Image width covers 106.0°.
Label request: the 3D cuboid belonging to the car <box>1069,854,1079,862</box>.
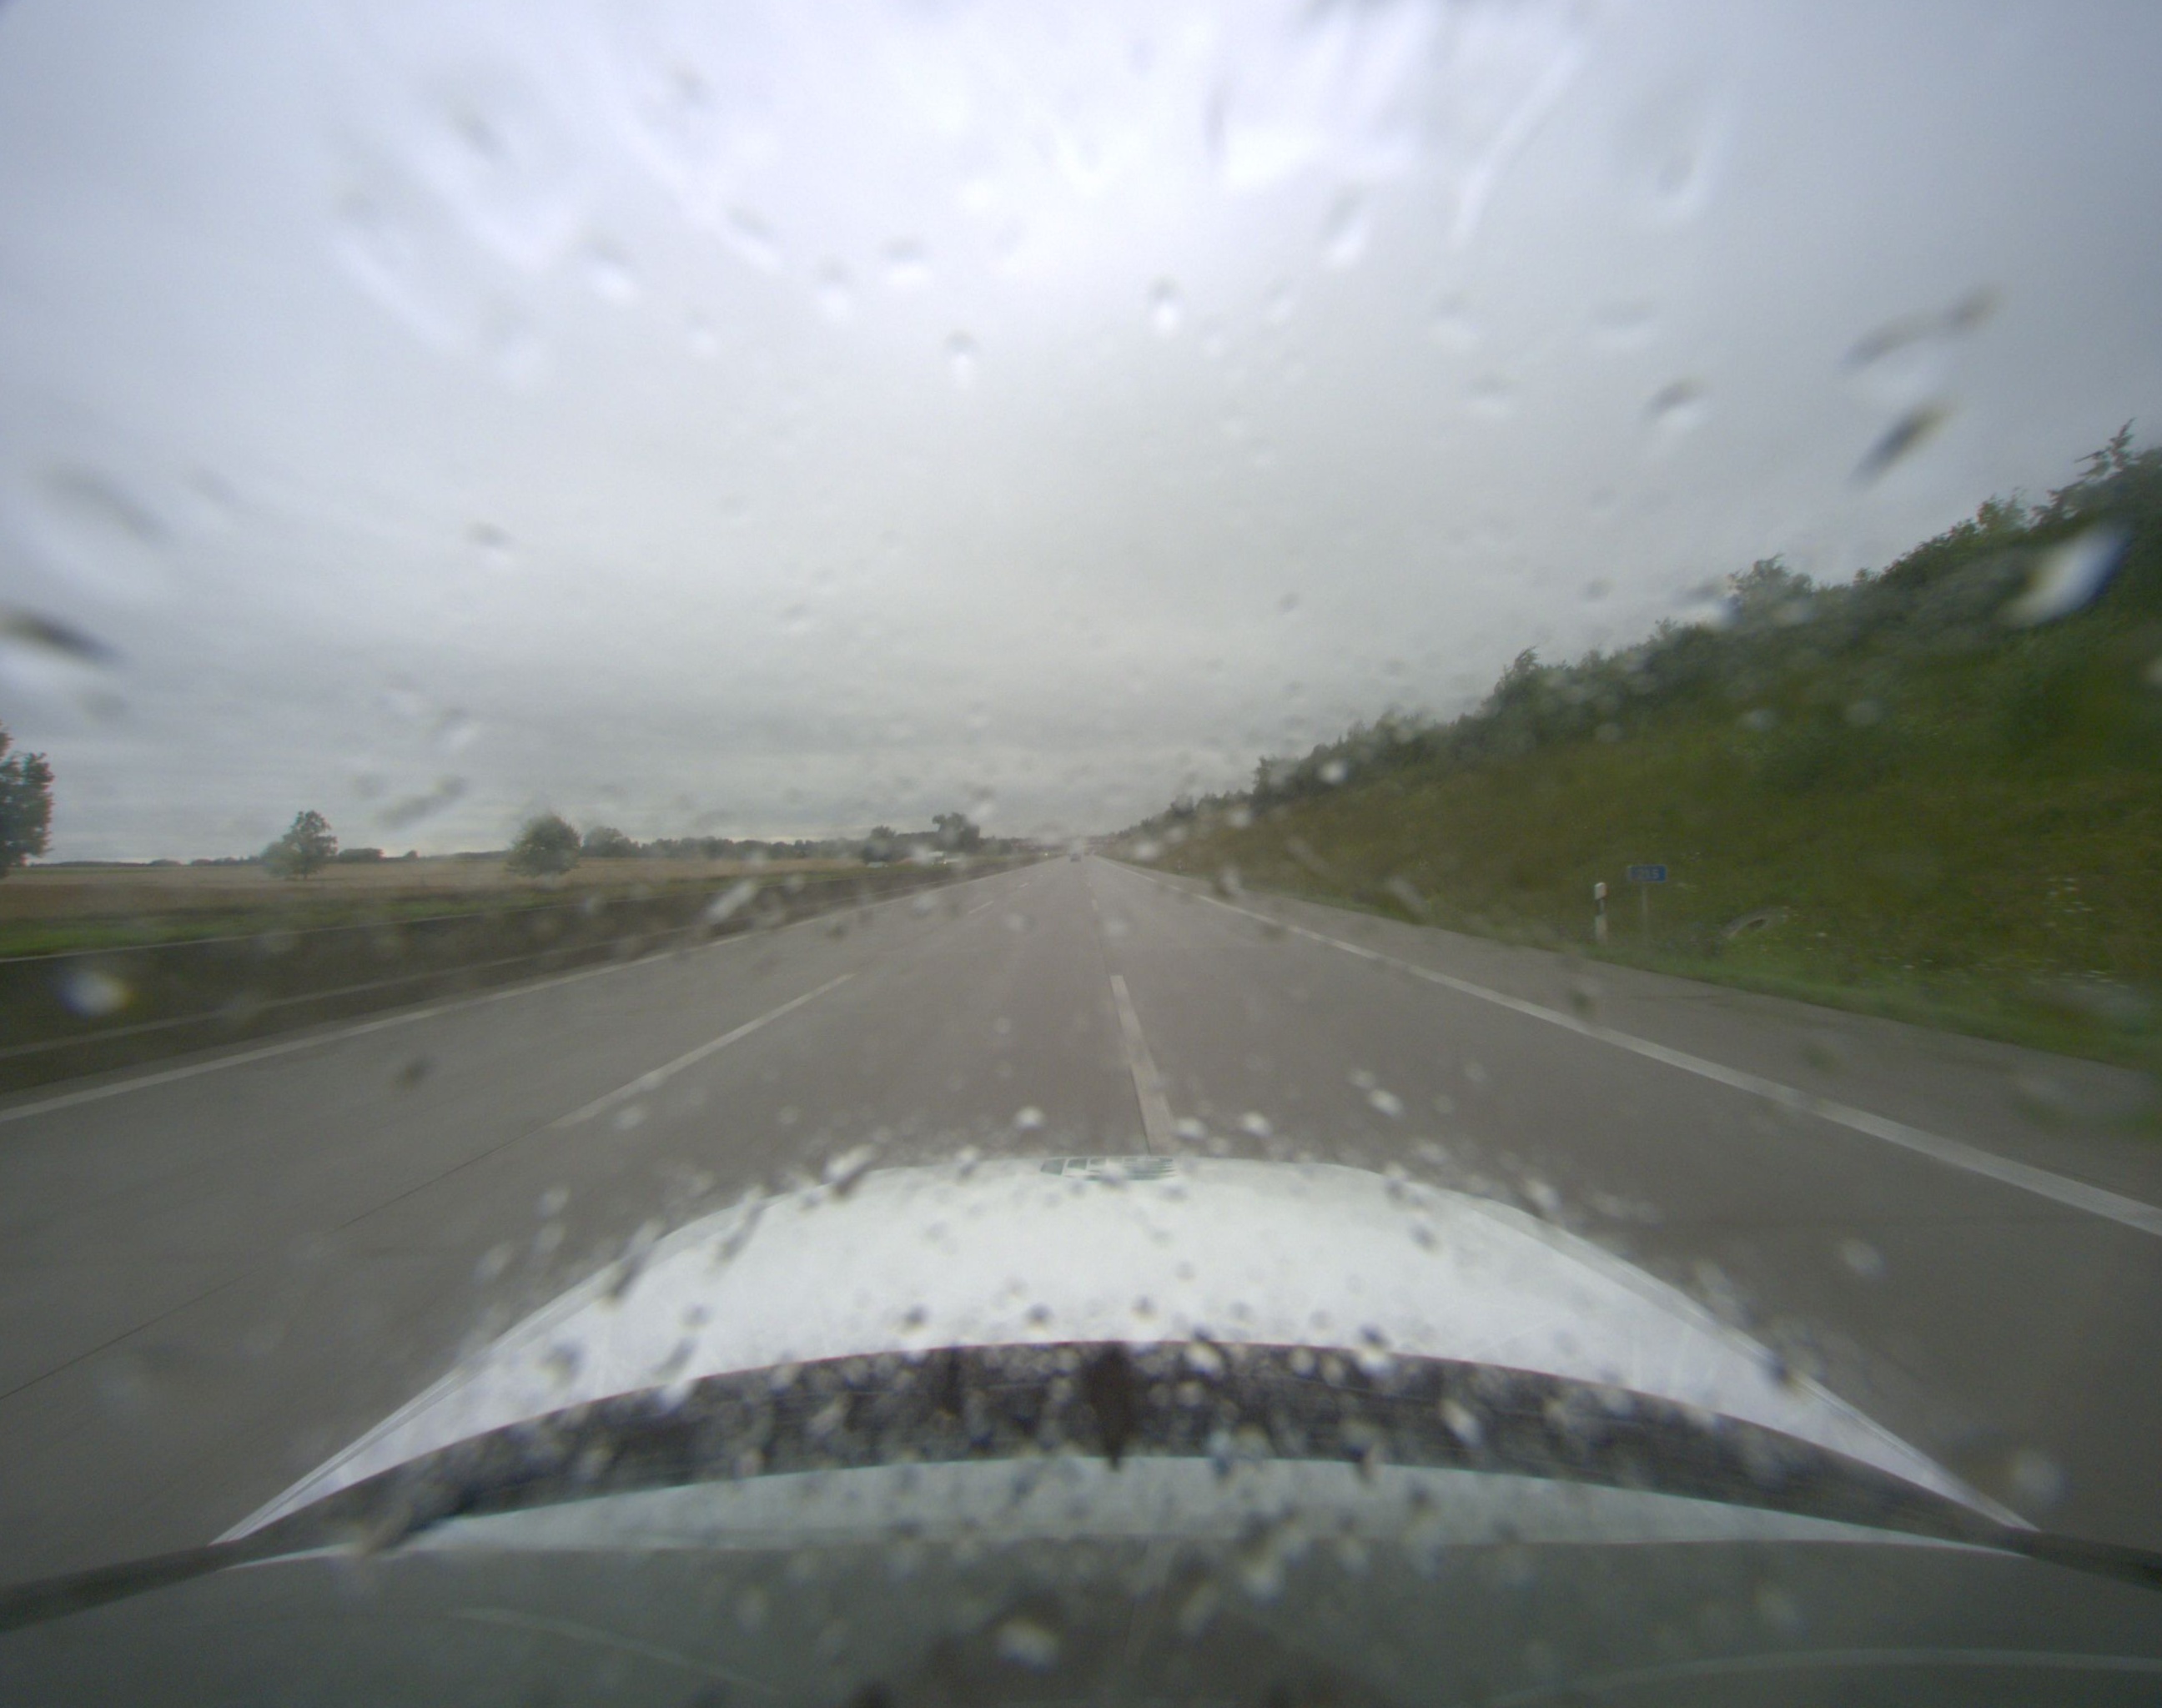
[{"bbox_3d":[-1.286,0.656,149.644,1.842,1.331,4.428,-1,1,-1],"label":"car"}]

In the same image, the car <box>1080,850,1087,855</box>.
[{"bbox_3d":[0.700,-0.381,231.621,1.724,1.331,4.428,-1,1,-1],"label":"car"}]
